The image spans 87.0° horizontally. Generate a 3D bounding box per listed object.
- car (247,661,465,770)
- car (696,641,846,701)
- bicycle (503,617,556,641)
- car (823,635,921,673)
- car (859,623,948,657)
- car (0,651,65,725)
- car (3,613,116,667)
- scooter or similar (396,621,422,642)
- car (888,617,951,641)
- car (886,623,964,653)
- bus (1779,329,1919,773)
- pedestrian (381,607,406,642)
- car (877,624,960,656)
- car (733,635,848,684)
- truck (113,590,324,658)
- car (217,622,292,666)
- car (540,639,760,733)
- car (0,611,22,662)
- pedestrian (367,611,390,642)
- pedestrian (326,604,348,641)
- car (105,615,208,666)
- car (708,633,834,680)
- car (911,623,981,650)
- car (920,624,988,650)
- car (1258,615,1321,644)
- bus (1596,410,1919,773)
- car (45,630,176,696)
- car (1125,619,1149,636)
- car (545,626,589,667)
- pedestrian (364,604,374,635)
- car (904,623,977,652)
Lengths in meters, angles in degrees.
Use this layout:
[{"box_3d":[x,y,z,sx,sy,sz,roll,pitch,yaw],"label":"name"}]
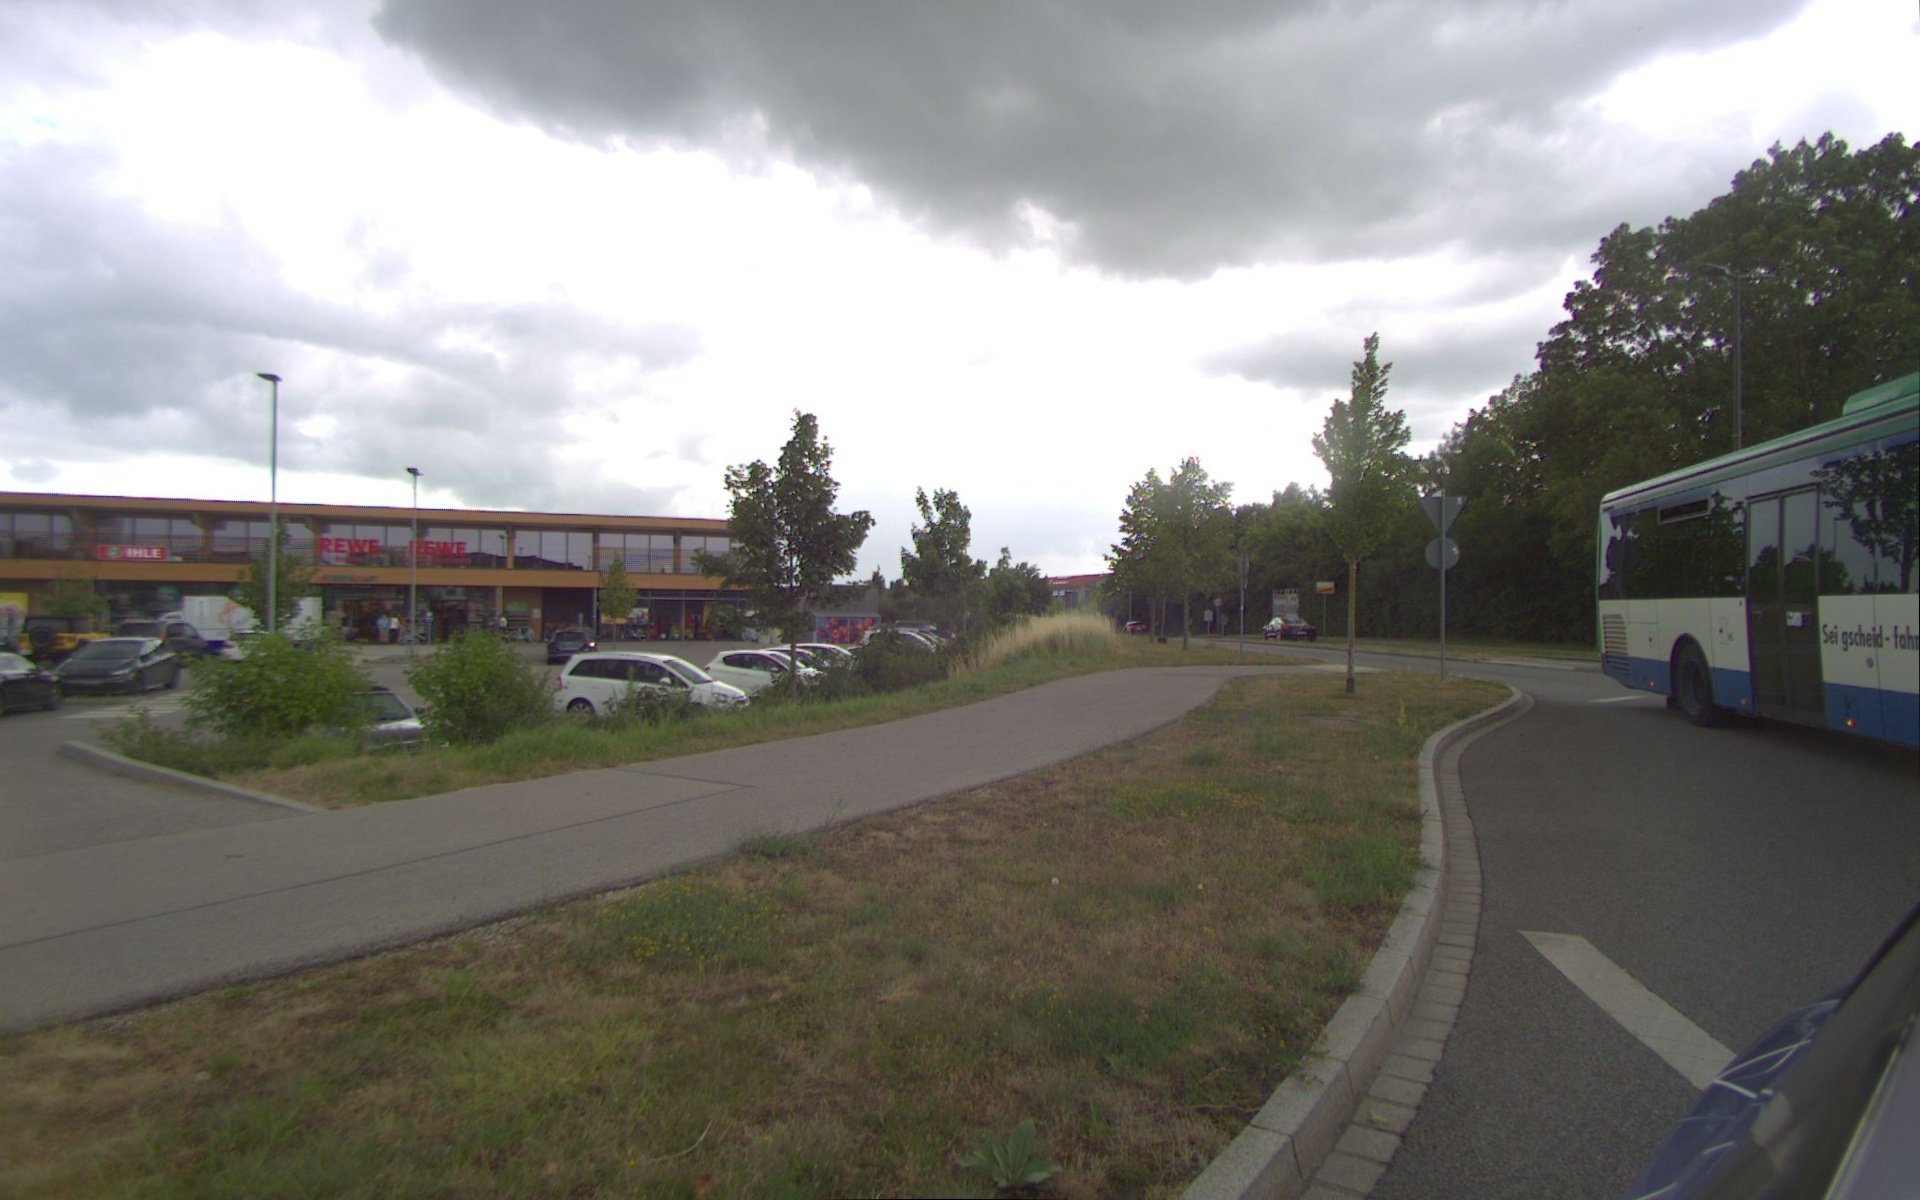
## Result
[{"box_3d":[-9.543,1.719,15.918,3.706,1.390,1.561,-1,-1,34],"label":"car"},{"box_3d":[-5.354,2.015,29.040,3.924,1.527,2.000,-1,0,1],"label":"car"},{"box_3d":[-25.185,1.697,59.286,2.809,1.326,0.981,0,-1,-20],"label":"bicycle"},{"box_3d":[-3.718,2.276,42.878,3.830,1.483,1.691,0,0,13],"label":"car"},{"box_3d":[-2.601,1.832,46.938,3.830,1.483,1.691,0,0,13],"label":"car"},{"box_3d":[-21.558,1.927,22.121,1.798,1.416,4.007,0,0,-23],"label":"car"},{"box_3d":[-33.696,1.459,38.011,1.735,1.878,4.008,0,-1,-19],"label":"car"},{"box_3d":[-30.768,1.778,56.544,0.785,1.141,0.994,-2,-3,25],"label":"scooter or similar"},{"box_3d":[-2.538,1.807,63.885,3.922,1.462,1.885,0,0,-2],"label":"car"},{"box_3d":[-1.830,1.991,53.150,3.830,1.483,1.691,0,0,13],"label":"car"},{"box_3d":[7.983,-0.326,5.982,2.490,3.298,6.516,1,1,16],"label":"bus"},{"box_3d":[-31.151,1.355,55.678,0.785,1.923,0.920,-2,-3,25],"label":"pedestrian"},{"box_3d":[-2.022,1.959,49.991,3.830,1.483,1.691,0,0,13],"label":"car"},{"box_3d":[-5.801,2.010,34.736,3.615,1.309,1.413,2,4,9],"label":"car"},{"box_3d":[-32.886,1.033,45.288,7.106,2.843,2.982,0,-1,-24],"label":"truck"},{"box_3d":[-27.731,1.681,39.889,1.696,1.549,4.007,0,0,-24],"label":"car"},{"box_3d":[-6.909,1.877,22.763,4.370,1.694,1.797,2,1,8],"label":"car"},{"box_3d":[-36.282,1.341,36.912,1.735,1.878,4.007,0,0,-23],"label":"car"},{"box_3d":[-32.113,1.462,55.907,0.795,1.678,0.745,0,-1,21],"label":"pedestrian"},{"box_3d":[-34.956,1.270,56.812,0.913,2.039,0.807,0,-1,-24],"label":"pedestrian"},{"box_3d":[-30.463,1.483,38.500,1.813,1.747,4.128,-1,0,-20],"label":"car"},{"box_3d":[-5.775,1.724,31.216,3.605,1.311,1.717,-1,0,-1],"label":"car"},{"box_3d":[-0.804,2.089,59.042,3.830,1.483,1.691,0,0,13],"label":"car"},{"box_3d":[-0.355,2.183,60.670,3.830,1.483,1.691,0,0,13],"label":"car"},{"box_3d":[16.895,1.478,52.062,1.795,1.324,4.115,1,0,-1],"label":"car"},{"box_3d":[9.693,-0.135,11.728,2.490,3.298,5.433,1,1,16],"label":"bus"},{"box_3d":[-23.247,1.656,27.871,1.696,1.573,4.007,0,0,-24],"label":"car"},{"box_3d":[17.260,2.671,98.856,1.612,1.524,3.581,0,0,0],"label":"car"},{"box_3d":[-16.869,1.958,43.502,1.680,1.588,3.677,0,0,-21],"label":"car"},{"box_3d":[-37.447,1.240,64.111,0.567,1.973,0.525,1,-1,-31],"label":"pedestrian"},{"box_3d":[-1.098,2.083,56.799,3.830,1.483,1.691,0,0,13],"label":"car"}]
